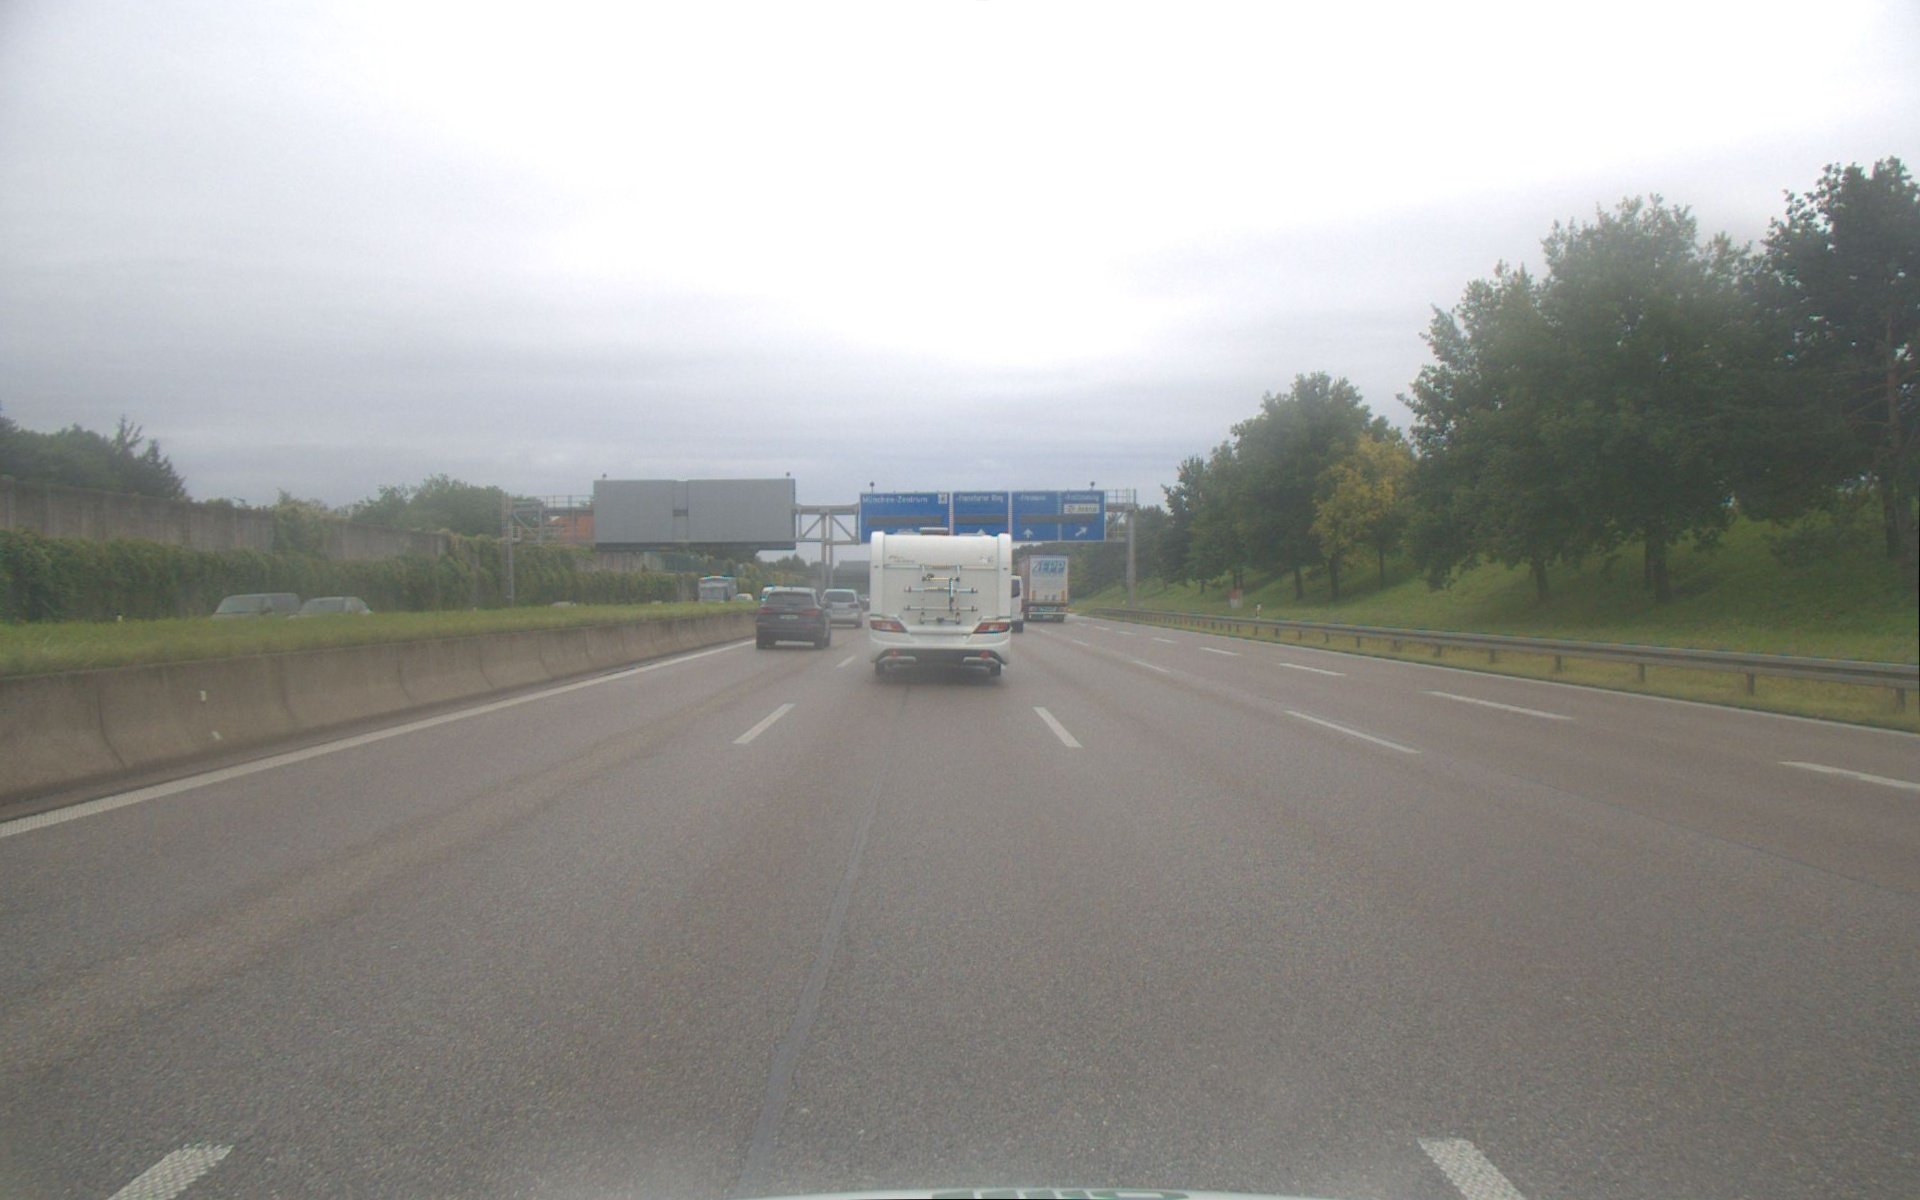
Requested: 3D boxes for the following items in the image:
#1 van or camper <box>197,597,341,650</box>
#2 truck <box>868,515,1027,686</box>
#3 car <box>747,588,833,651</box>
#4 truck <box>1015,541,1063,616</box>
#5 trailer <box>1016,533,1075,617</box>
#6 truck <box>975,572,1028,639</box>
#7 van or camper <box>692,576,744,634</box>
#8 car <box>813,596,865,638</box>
[{"bbox_3d":[-26.142,0.849,63.032,2.147,1.832,8.433,1,0,-2],"label":"van or camper"},{"bbox_3d":[-0.268,0.018,30.070,2.607,2.790,5.076,1,0,-2],"label":"truck"},{"bbox_3d":[-4.683,0.517,46.213,1.953,1.628,5.122,1,0,-2],"label":"car"},{"bbox_3d":[5.372,-1.423,113.585,2.986,4.924,5.850,1,0,0],"label":"truck"},{"bbox_3d":[5.375,-1.460,105.716,3.036,5.008,11.789,1,0,0],"label":"trailer"},{"bbox_3d":[1.779,0.248,72.677,2.012,2.818,5.547,1,0,-2],"label":"truck"},{"bbox_3d":[-17.753,0.366,121.711,2.653,4.017,8.400,1,0,-1],"label":"van or camper"},{"bbox_3d":[-5.387,0.747,74.099,2.085,1.736,4.111,2,0,-2],"label":"car"}]
